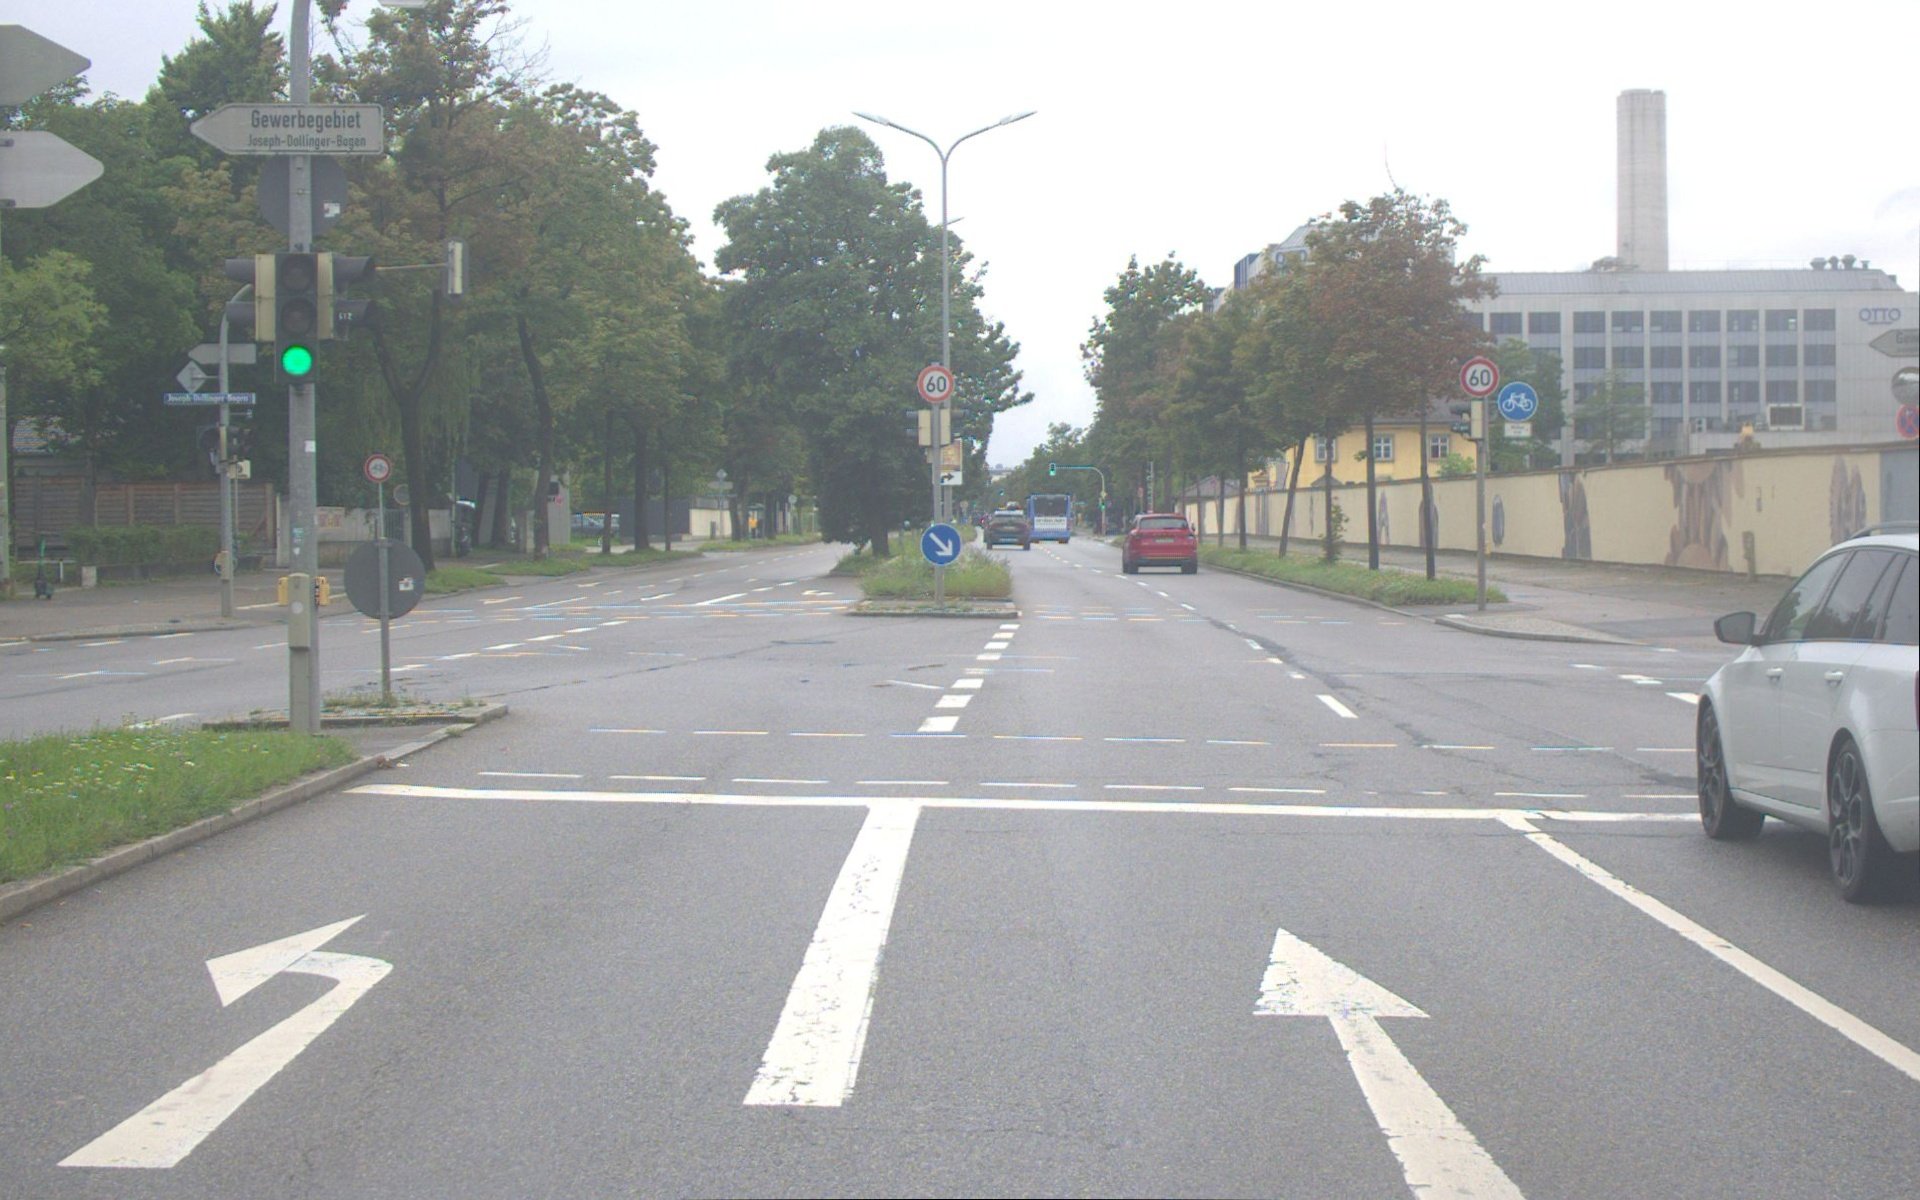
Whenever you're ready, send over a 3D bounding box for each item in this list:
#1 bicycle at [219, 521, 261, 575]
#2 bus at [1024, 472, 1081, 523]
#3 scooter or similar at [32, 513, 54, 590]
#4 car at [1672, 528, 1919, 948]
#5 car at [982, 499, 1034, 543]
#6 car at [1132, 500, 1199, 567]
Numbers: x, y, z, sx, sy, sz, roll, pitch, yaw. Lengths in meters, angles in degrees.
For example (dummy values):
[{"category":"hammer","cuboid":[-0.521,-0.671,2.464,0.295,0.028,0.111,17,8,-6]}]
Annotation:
[{"category":"bicycle","cuboid":[-17.465,-1.272,83.407,0.582,1.291,2.455,1,1,-2]},{"category":"bus","cuboid":[5.900,-6.545,220.280,3.220,3.116,10.346,1,1,-1]},{"category":"scooter or similar","cuboid":[-17.091,-0.908,64.076,0.370,1.419,1.406,0,1,-15]},{"category":"car","cuboid":[4.327,0.453,14.322,1.878,1.462,4.502,1,1,2]},{"category":"car","cuboid":[2.045,-3.421,148.412,2.084,1.859,4.387,1,1,-1]},{"category":"car","cuboid":[5.397,-1.750,90.415,1.484,1.710,3.551,1,1,-1]}]
